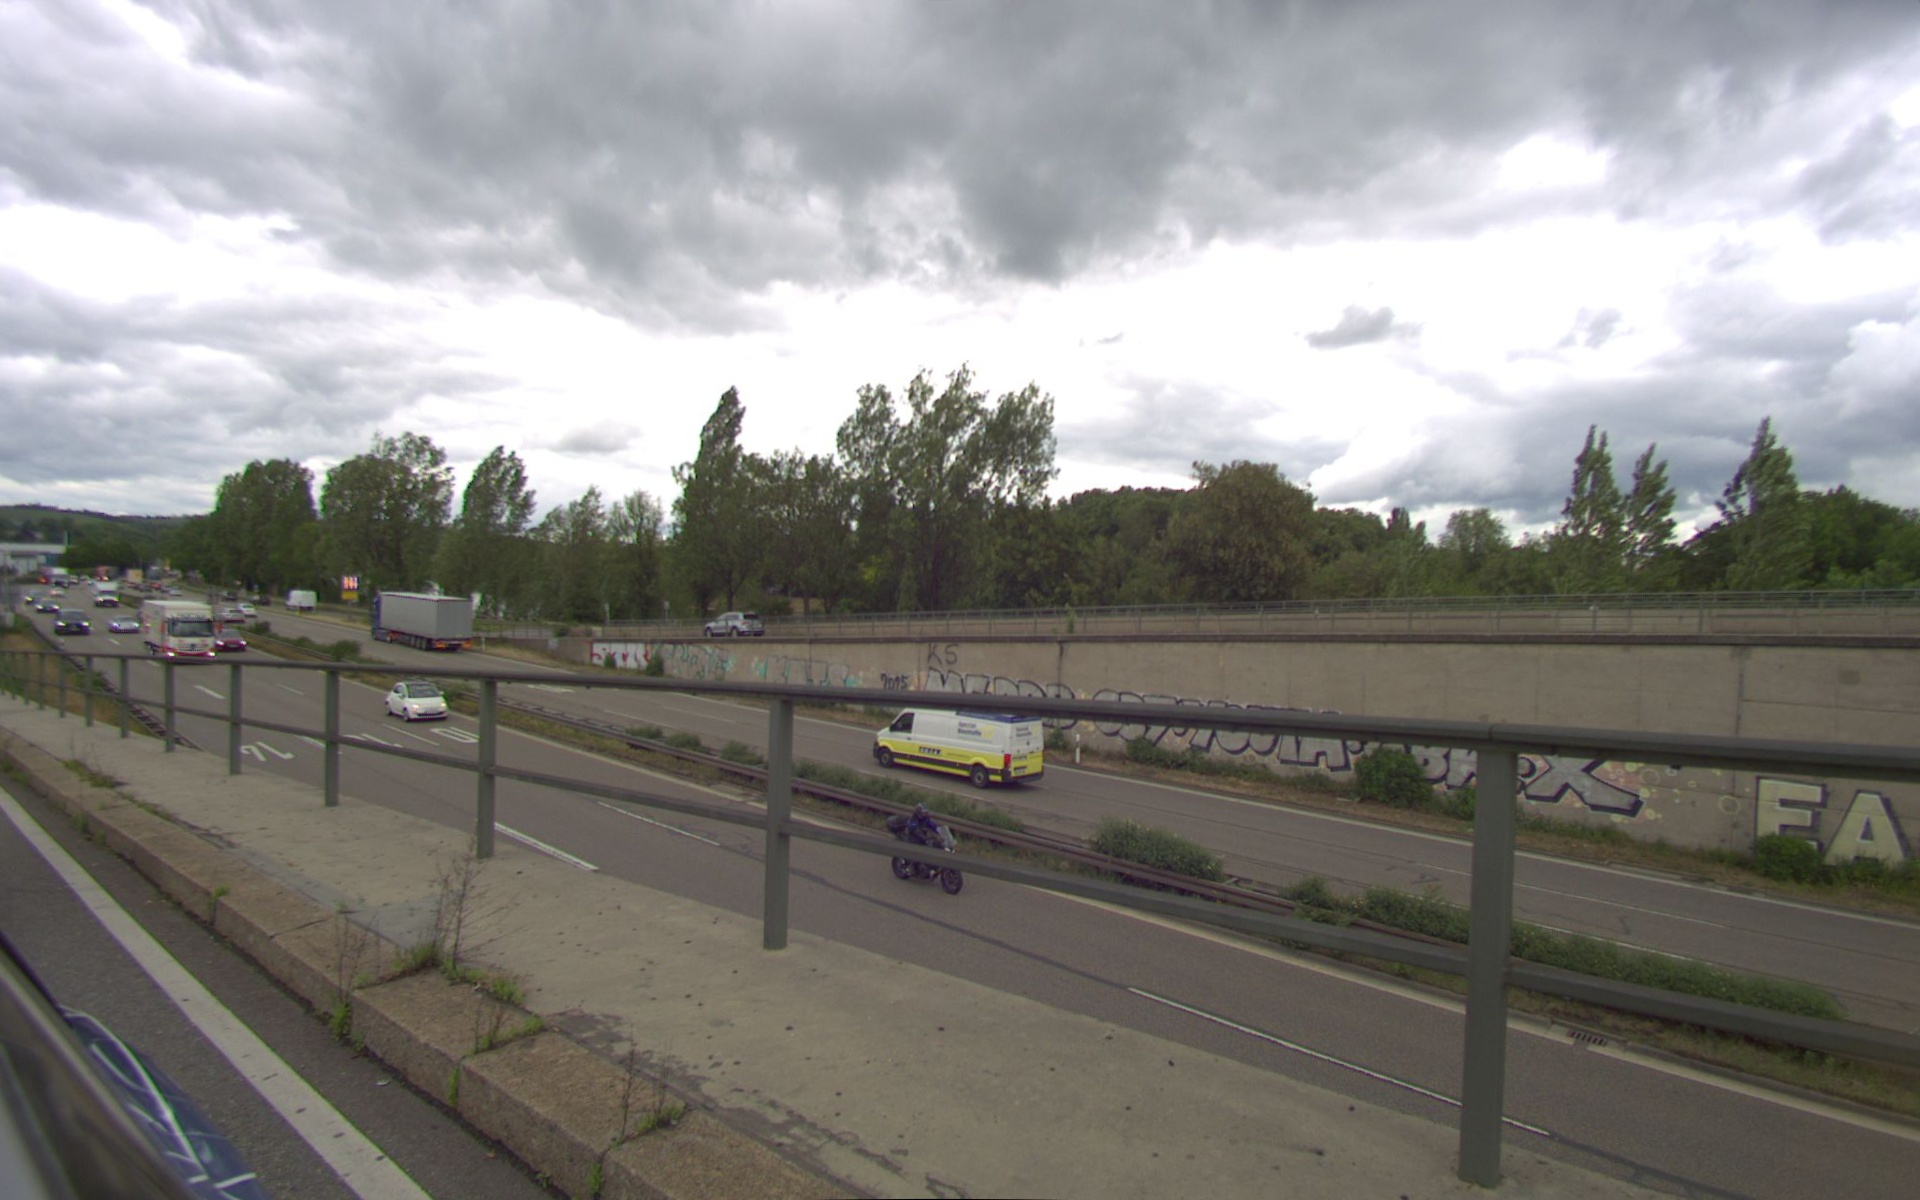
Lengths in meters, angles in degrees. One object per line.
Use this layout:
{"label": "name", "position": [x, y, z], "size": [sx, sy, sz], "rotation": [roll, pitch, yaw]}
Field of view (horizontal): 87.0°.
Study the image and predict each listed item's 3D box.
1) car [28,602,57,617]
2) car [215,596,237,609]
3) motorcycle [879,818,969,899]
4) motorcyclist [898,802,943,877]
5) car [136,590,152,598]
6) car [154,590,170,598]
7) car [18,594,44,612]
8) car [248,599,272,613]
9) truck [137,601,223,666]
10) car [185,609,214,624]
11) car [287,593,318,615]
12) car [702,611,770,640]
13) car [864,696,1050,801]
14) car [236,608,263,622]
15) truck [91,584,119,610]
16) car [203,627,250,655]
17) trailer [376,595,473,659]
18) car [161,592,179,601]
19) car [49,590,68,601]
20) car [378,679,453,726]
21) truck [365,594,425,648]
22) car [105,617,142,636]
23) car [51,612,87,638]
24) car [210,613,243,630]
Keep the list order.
{"label": "car", "position": [-96.001, 0.989, 105.886], "size": [4.126, 1.461, 1.804], "rotation": [2, 0, 41]}
{"label": "car", "position": [-116.284, 0.320, 160.396], "size": [4.562, 1.831, 1.861], "rotation": [2, -3, 42]}
{"label": "motorcycle", "position": [-0.788, 5.507, 21.710], "size": [2.126, 1.212, 0.587], "rotation": [2, 1, 43]}
{"label": "motorcyclist", "position": [-0.854, 5.137, 21.769], "size": [0.762, 1.382, 0.587], "rotation": [2, 1, 42]}
{"label": "car", "position": [-161.230, -1.151, 199.940], "size": [4.002, 1.431, 1.971], "rotation": [2, 1, 44]}
{"label": "car", "position": [-155.941, -1.174, 197.734], "size": [4.002, 1.431, 1.971], "rotation": [2, 1, 44]}
{"label": "car", "position": [-112.823, 0.315, 122.850], "size": [4.001, 2.029, 1.971], "rotation": [2, -1, 43]}
{"label": "car", "position": [-101.367, 0.837, 146.537], "size": [4.562, 1.831, 1.861], "rotation": [2, -3, 42]}
{"label": "truck", "position": [-48.978, 2.028, 63.415], "size": [9.877, 3.552, 2.849], "rotation": [2, -1, 45]}
{"label": "car", "position": [-85.844, 1.902, 114.153], "size": [4.002, 1.431, 1.971], "rotation": [2, -3, 45]}
{"label": "car", "position": [-86.765, 0.508, 133.483], "size": [5.180, 2.669, 1.972], "rotation": [2, -3, 42]}
{"label": "car", "position": [-13.820, 1.546, 62.382], "size": [4.376, 1.664, 1.873], "rotation": [-1, 0, 42]}
{"label": "car", "position": [-0.237, 4.934, 34.670], "size": [6.713, 2.648, 1.972], "rotation": [2, -1, 42]}
{"label": "car", "position": [-79.004, 1.649, 112.493], "size": [4.002, 1.431, 1.660], "rotation": [3, 0, 44]}
{"label": "truck", "position": [-105.556, -0.389, 124.969], "size": [2.207, 3.031, 7.239], "rotation": [1, 1, -43]}
{"label": "car", "position": [-51.099, 2.854, 70.478], "size": [4.183, 1.590, 1.810], "rotation": [3, 3, 43]}
{"label": "trailer", "position": [-42.296, 1.952, 79.547], "size": [13.772, 4.170, 2.755], "rotation": [3, 1, 45]}
{"label": "car", "position": [-143.275, -0.673, 183.527], "size": [4.002, 1.431, 1.971], "rotation": [2, 1, 44]}
{"label": "car", "position": [-137.874, -0.673, 154.780], "size": [3.335, 1.539, 1.746], "rotation": [2, 0, 41]}
{"label": "car", "position": [-23.102, 4.286, 42.907], "size": [3.608, 1.544, 1.674], "rotation": [2, 1, 43]}
{"label": "truck", "position": [-47.101, 1.703, 84.316], "size": [5.939, 4.170, 2.755], "rotation": [3, 1, 45]}
{"label": "car", "position": [-68.551, 2.190, 82.945], "size": [4.153, 1.311, 1.766], "rotation": [3, 0, 43]}
{"label": "car", "position": [-69.384, 1.937, 78.794], "size": [1.970, 1.853, 4.430], "rotation": [2, 0, -43]}
{"label": "car", "position": [-73.487, 2.167, 101.424], "size": [4.002, 1.431, 1.971], "rotation": [2, -3, 45]}
